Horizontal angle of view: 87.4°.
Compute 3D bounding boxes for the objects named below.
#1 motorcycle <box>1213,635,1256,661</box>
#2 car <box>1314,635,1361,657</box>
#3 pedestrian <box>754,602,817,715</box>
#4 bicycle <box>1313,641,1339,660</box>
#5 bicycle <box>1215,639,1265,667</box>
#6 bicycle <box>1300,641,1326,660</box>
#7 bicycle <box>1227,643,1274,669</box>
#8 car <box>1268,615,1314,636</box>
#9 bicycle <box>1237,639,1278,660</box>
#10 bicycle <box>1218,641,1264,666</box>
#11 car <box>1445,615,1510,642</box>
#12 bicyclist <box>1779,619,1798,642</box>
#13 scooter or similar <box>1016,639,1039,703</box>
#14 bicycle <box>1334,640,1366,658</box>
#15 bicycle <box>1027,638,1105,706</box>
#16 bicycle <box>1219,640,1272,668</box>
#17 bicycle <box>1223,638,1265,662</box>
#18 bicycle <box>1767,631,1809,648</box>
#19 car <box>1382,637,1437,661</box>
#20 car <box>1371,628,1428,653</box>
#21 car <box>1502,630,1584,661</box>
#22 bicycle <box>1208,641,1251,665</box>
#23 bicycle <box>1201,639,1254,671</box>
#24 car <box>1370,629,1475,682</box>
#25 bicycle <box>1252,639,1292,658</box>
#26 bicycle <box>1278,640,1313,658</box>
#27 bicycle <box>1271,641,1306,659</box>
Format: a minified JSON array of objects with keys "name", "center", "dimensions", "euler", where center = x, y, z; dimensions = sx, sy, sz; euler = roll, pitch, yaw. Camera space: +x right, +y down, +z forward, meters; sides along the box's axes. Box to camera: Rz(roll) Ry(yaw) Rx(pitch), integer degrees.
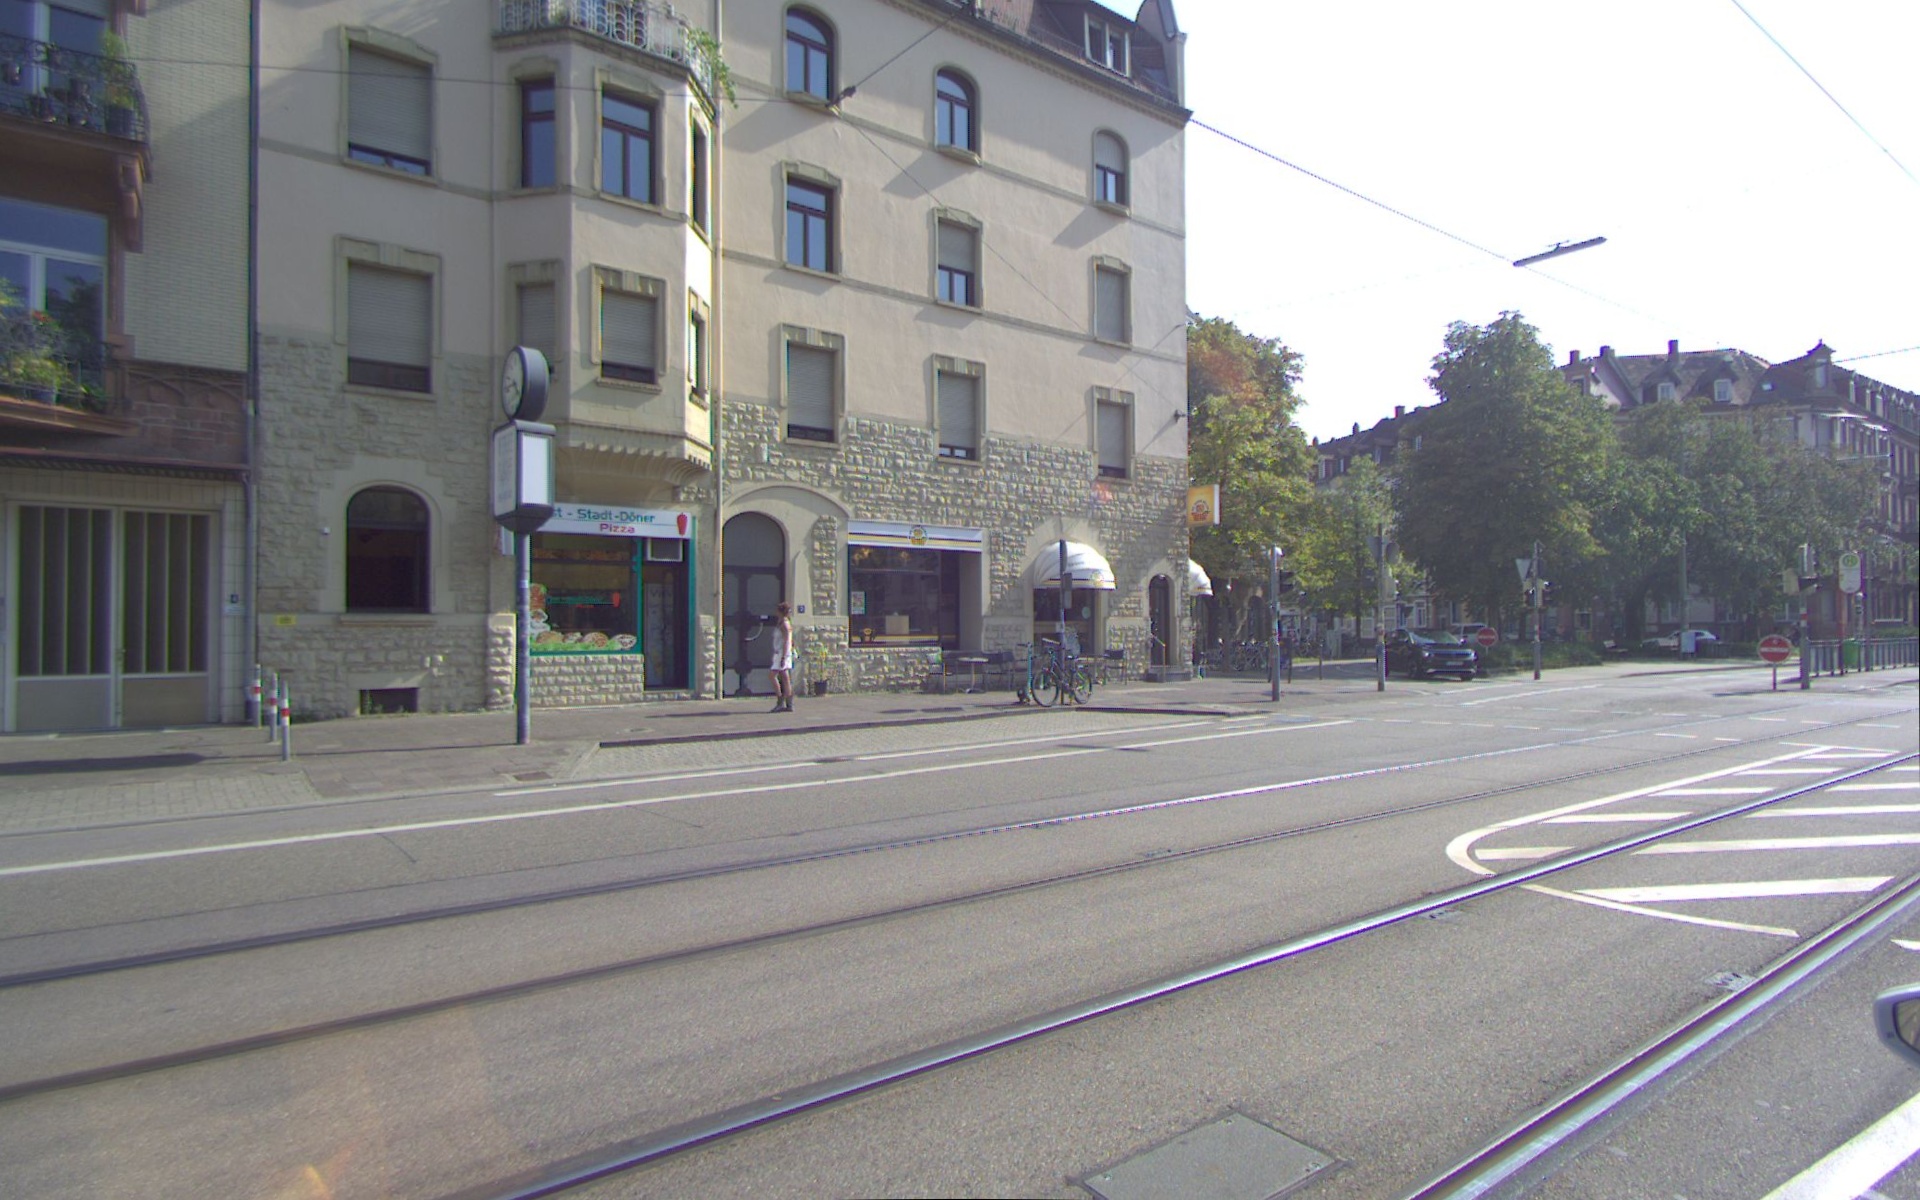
[{"name":"motorcycle","center":[12.431,2.175,45.473],"dimensions":[1.838,1.169,0.607],"euler":[0,-2,21]},{"name":"car","center":[33.038,3.988,88.039],"dimensions":[1.966,1.852,3.990],"euler":[0,-2,-13]},{"name":"pedestrian","center":[-3.000,0.987,17.275],"dimensions":[0.823,1.884,0.768],"euler":[1,-2,-38]},{"name":"bicycle","center":[19.979,2.737,54.886],"dimensions":[1.753,0.990,0.421],"euler":[1,-2,-36]},{"name":"bicycle","center":[10.943,2.055,39.267],"dimensions":[1.840,1.047,0.570],"euler":[0,-2,16]},{"name":"bicycle","center":[19.302,2.732,54.847],"dimensions":[1.753,0.990,0.421],"euler":[1,-2,-36]},{"name":"bicycle","center":[10.501,2.014,36.322],"dimensions":[1.578,0.932,0.479],"euler":[1,-2,-5]},{"name":"car","center":[31.164,2.415,94.716],"dimensions":[1.971,1.852,3.979],"euler":[0,-2,-22]},{"name":"bicycle","center":[14.436,2.396,48.814],"dimensions":[1.864,0.993,0.686],"euler":[0,-2,21]},{"name":"bicycle","center":[11.360,2.147,40.646],"dimensions":[1.768,0.997,0.570],"euler":[0,-2,14]},{"name":"car","center":[36.788,2.016,71.525],"dimensions":[1.966,1.852,3.990],"euler":[0,-2,-13]},{"name":"bicyclist","center":[48.544,1.794,58.837],"dimensions":[0.808,1.345,0.546],"euler":[-2,-2,38]},{"name":"scooter or similar","center":[1.319,1.374,19.627],"dimensions":[0.359,1.213,1.035],"euler":[-1,-2,9]},{"name":"bicycle","center":[22.266,2.794,57.359],"dimensions":[0.597,0.990,1.758],"euler":[0,-2,-27]},{"name":"bicycle","center":[2.073,1.371,19.469],"dimensions":[0.448,1.242,1.845],"euler":[-2,-2,44]},{"name":"bicycle","center":[10.724,2.016,37.787],"dimensions":[1.841,1.017,0.570],"euler":[0,-2,1]},{"name":"bicycle","center":[13.099,2.297,46.341],"dimensions":[1.842,1.041,0.664],"euler":[0,-2,21]},{"name":"bicycle","center":[48.506,2.319,58.861],"dimensions":[1.827,0.970,0.546],"euler":[-2,-2,38]},{"name":"car","center":[35.225,3.827,78.811],"dimensions":[1.966,1.852,3.990],"euler":[0,-2,-13]},{"name":"car","center":[33.176,3.023,75.948],"dimensions":[1.966,1.852,3.990],"euler":[0,-2,-13]},{"name":"car","center":[36.173,2.792,62.410],"dimensions":[1.980,1.852,3.961],"euler":[1,-2,-35]},{"name":"bicycle","center":[11.472,2.248,42.856],"dimensions":[1.768,0.989,0.661],"euler":[0,-2,14]},{"name":"bicycle","center":[9.822,2.021,36.925],"dimensions":[1.847,1.127,0.568],"euler":[1,-2,-15]},{"name":"car","center":[14.630,1.719,31.992],"dimensions":[1.579,1.535,4.230],"euler":[-1,-1,3]},{"name":"bicycle","center":[15.956,2.477,51.333],"dimensions":[1.848,0.947,0.636],"euler":[-1,-2,37]},{"name":"bicycle","center":[18.657,2.745,55.899],"dimensions":[1.740,0.990,0.604],"euler":[-2,-2,32]},{"name":"bicycle","center":[18.111,2.737,55.336],"dimensions":[1.740,0.990,0.519],"euler":[-2,-2,33]}]
